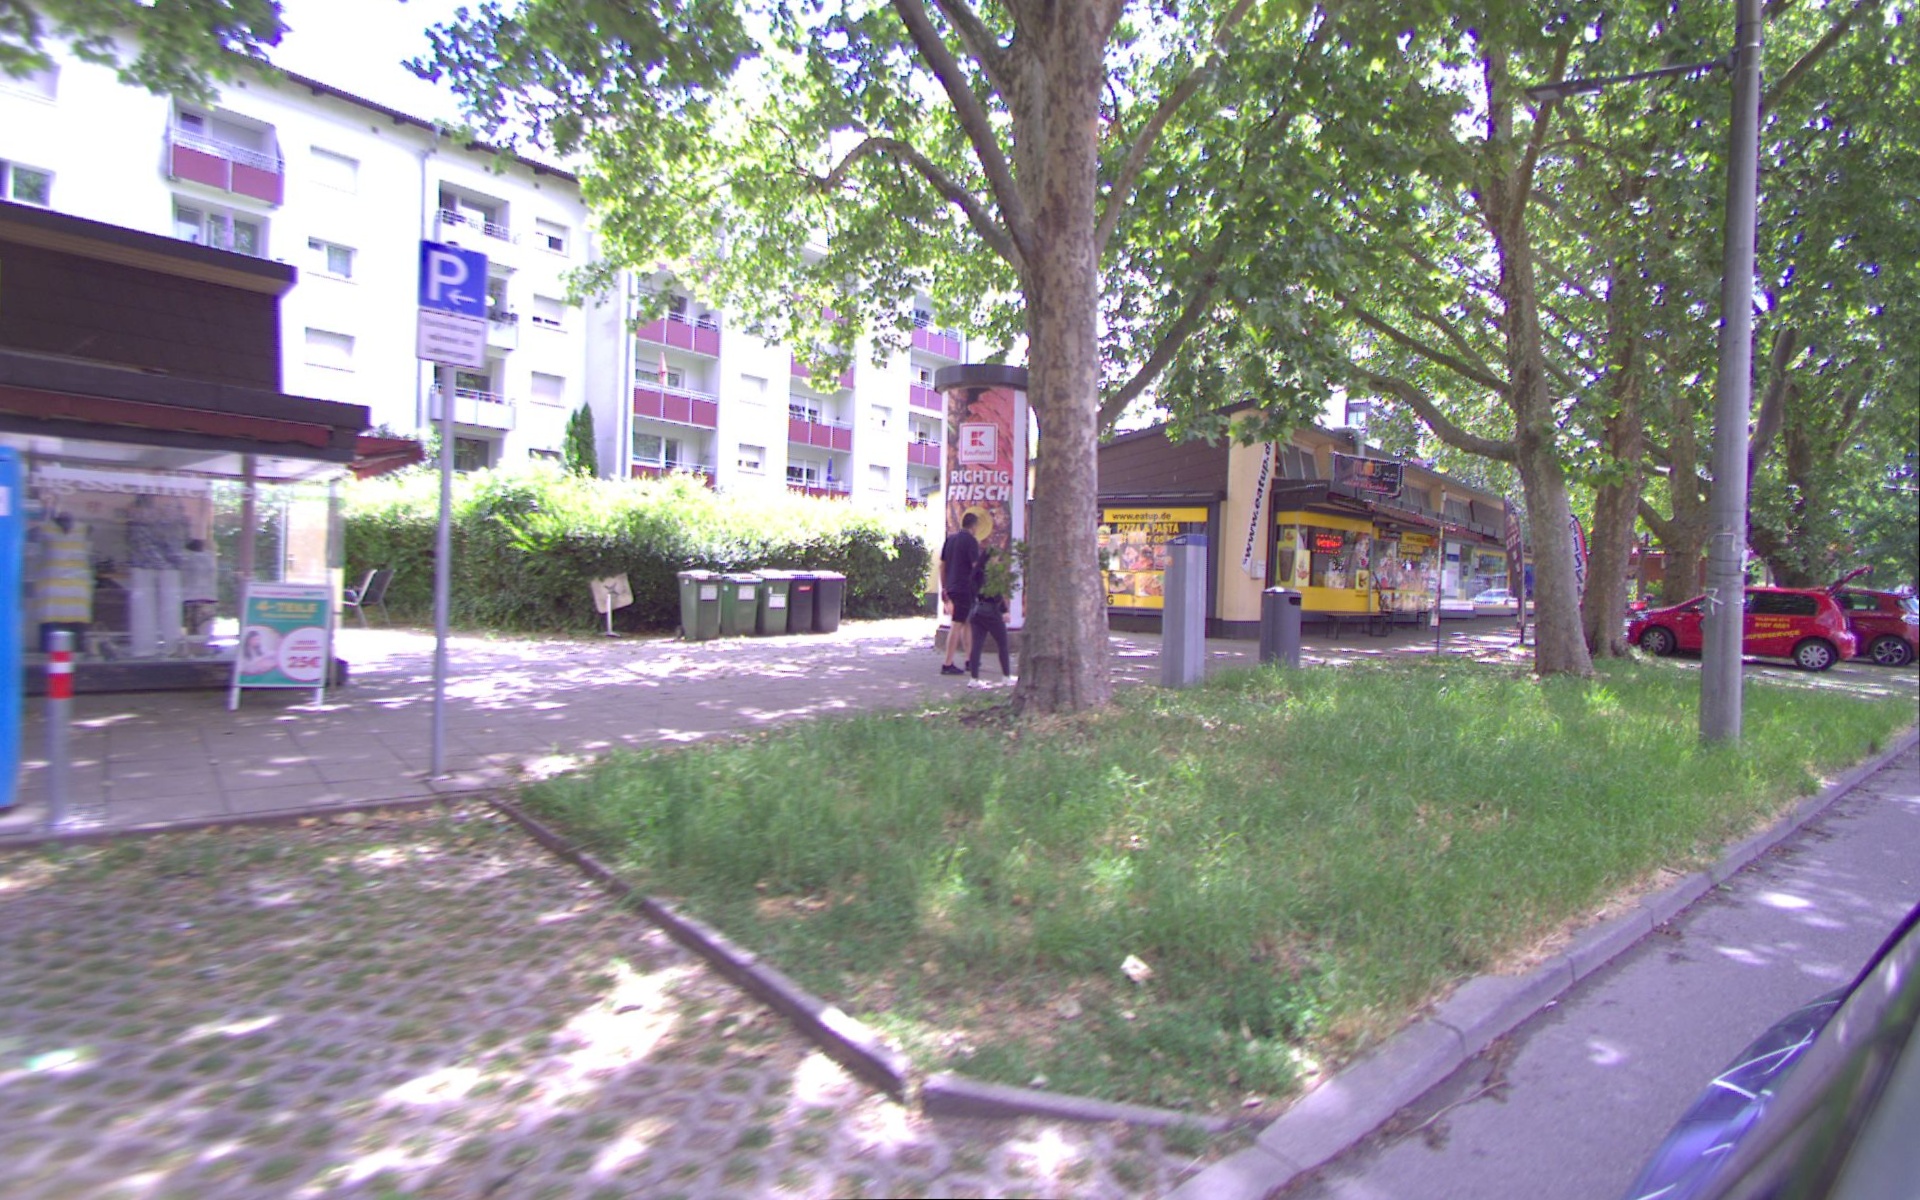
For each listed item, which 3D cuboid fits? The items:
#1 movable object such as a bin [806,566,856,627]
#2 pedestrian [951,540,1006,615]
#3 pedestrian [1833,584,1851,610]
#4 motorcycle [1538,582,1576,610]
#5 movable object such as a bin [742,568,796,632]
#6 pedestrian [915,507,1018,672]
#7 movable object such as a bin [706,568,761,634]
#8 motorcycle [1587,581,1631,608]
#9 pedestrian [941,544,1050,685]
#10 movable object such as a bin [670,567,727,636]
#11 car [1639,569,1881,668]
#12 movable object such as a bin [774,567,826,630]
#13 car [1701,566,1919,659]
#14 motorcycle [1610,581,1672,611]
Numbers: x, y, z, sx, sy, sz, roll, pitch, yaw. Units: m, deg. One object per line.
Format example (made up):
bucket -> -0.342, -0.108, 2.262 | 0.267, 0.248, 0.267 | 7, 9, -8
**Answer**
movable object such as a bin -> -2.300, -0.068, 18.059 | 0.637, 1.046, 0.624 | 0, 2, -44
pedestrian -> 0.393, -0.489, 21.588 | 0.750, 1.554, 0.894 | 2, 1, 42
pedestrian -> 52.595, -0.189, 60.355 | 0.643, 1.557, 0.725 | 1, 2, -45
motorcycle -> 28.013, -0.216, 47.510 | 0.728, 1.210, 2.134 | 2, 2, 9
movable object such as a bin -> -3.227, -0.012, 17.089 | 0.637, 1.046, 0.624 | 0, 2, -44
pedestrian -> 0.077, -0.150, 12.244 | 0.925, 1.906, 0.745 | 0, 4, -41
movable object such as a bin -> -3.704, 0.008, 16.550 | 0.637, 1.029, 0.624 | 0, 2, -44
motorcycle -> 30.534, -0.261, 47.664 | 0.726, 1.210, 2.137 | 2, 2, 3
pedestrian -> 0.394, 0.145, 11.094 | 1.010, 1.465, 0.626 | 0, 1, -41
movable object such as a bin -> -4.105, 0.012, 15.887 | 0.637, 1.029, 0.624 | 0, 2, -44
car -> 15.356, 0.280, 19.536 | 1.584, 1.532, 3.412 | 0, 5, -44
movable object such as a bin -> -2.782, -0.031, 17.574 | 0.637, 1.046, 0.624 | 0, 2, -44
car -> 18.838, 0.224, 21.971 | 1.699, 1.630, 4.043 | 0, 5, -37
motorcycle -> 30.204, -0.190, 44.913 | 0.725, 1.210, 2.141 | 1, 2, -31
